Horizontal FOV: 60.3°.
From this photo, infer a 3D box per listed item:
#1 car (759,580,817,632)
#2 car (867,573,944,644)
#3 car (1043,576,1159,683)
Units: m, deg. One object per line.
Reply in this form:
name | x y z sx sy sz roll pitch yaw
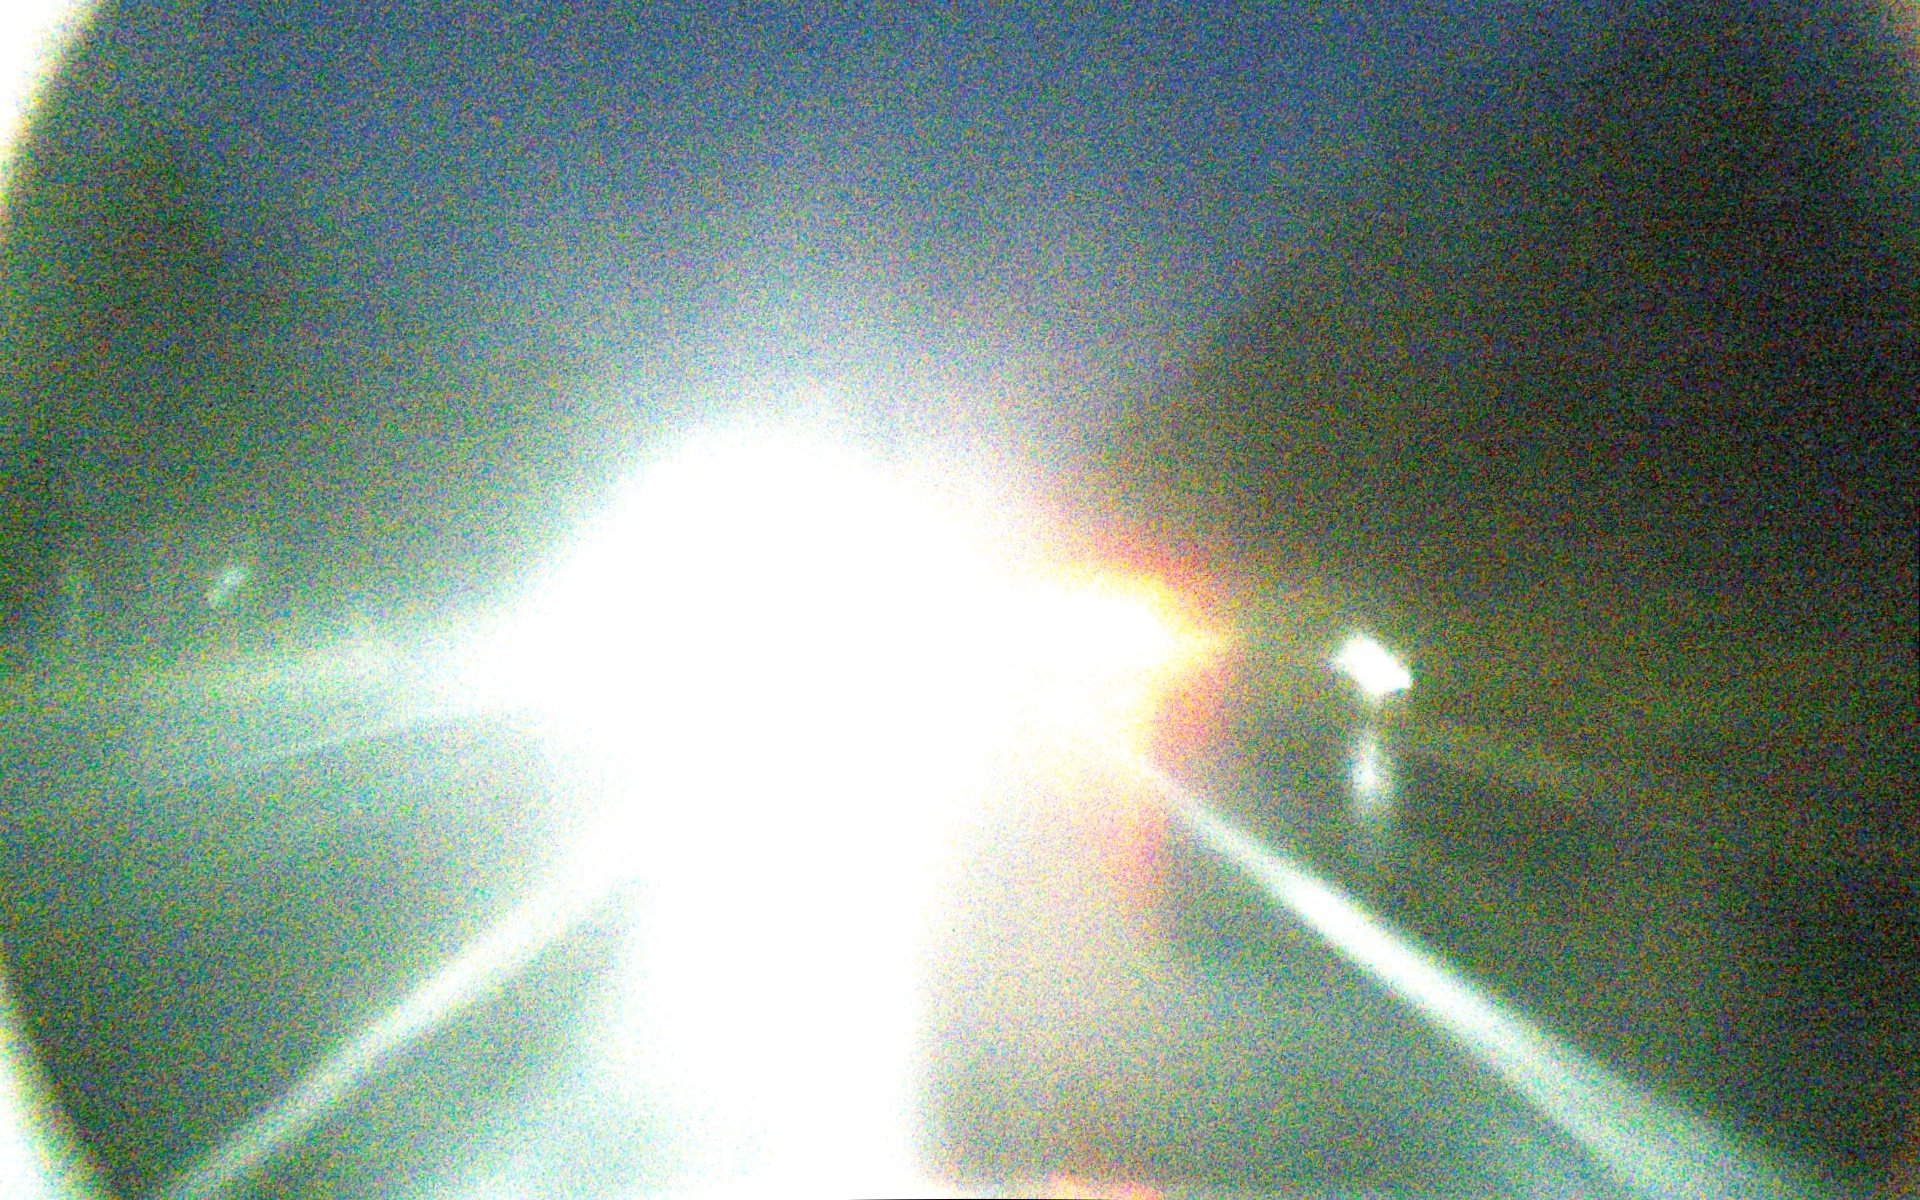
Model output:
car | -5.786 0.180 55.353 1.775 1.650 3.993 1 0 -8
car | -1.350 0.179 40.625 1.772 1.650 3.998 1 0 -2
car | 2.853 0.555 34.285 2.050 2.049 4.000 1 0 0
